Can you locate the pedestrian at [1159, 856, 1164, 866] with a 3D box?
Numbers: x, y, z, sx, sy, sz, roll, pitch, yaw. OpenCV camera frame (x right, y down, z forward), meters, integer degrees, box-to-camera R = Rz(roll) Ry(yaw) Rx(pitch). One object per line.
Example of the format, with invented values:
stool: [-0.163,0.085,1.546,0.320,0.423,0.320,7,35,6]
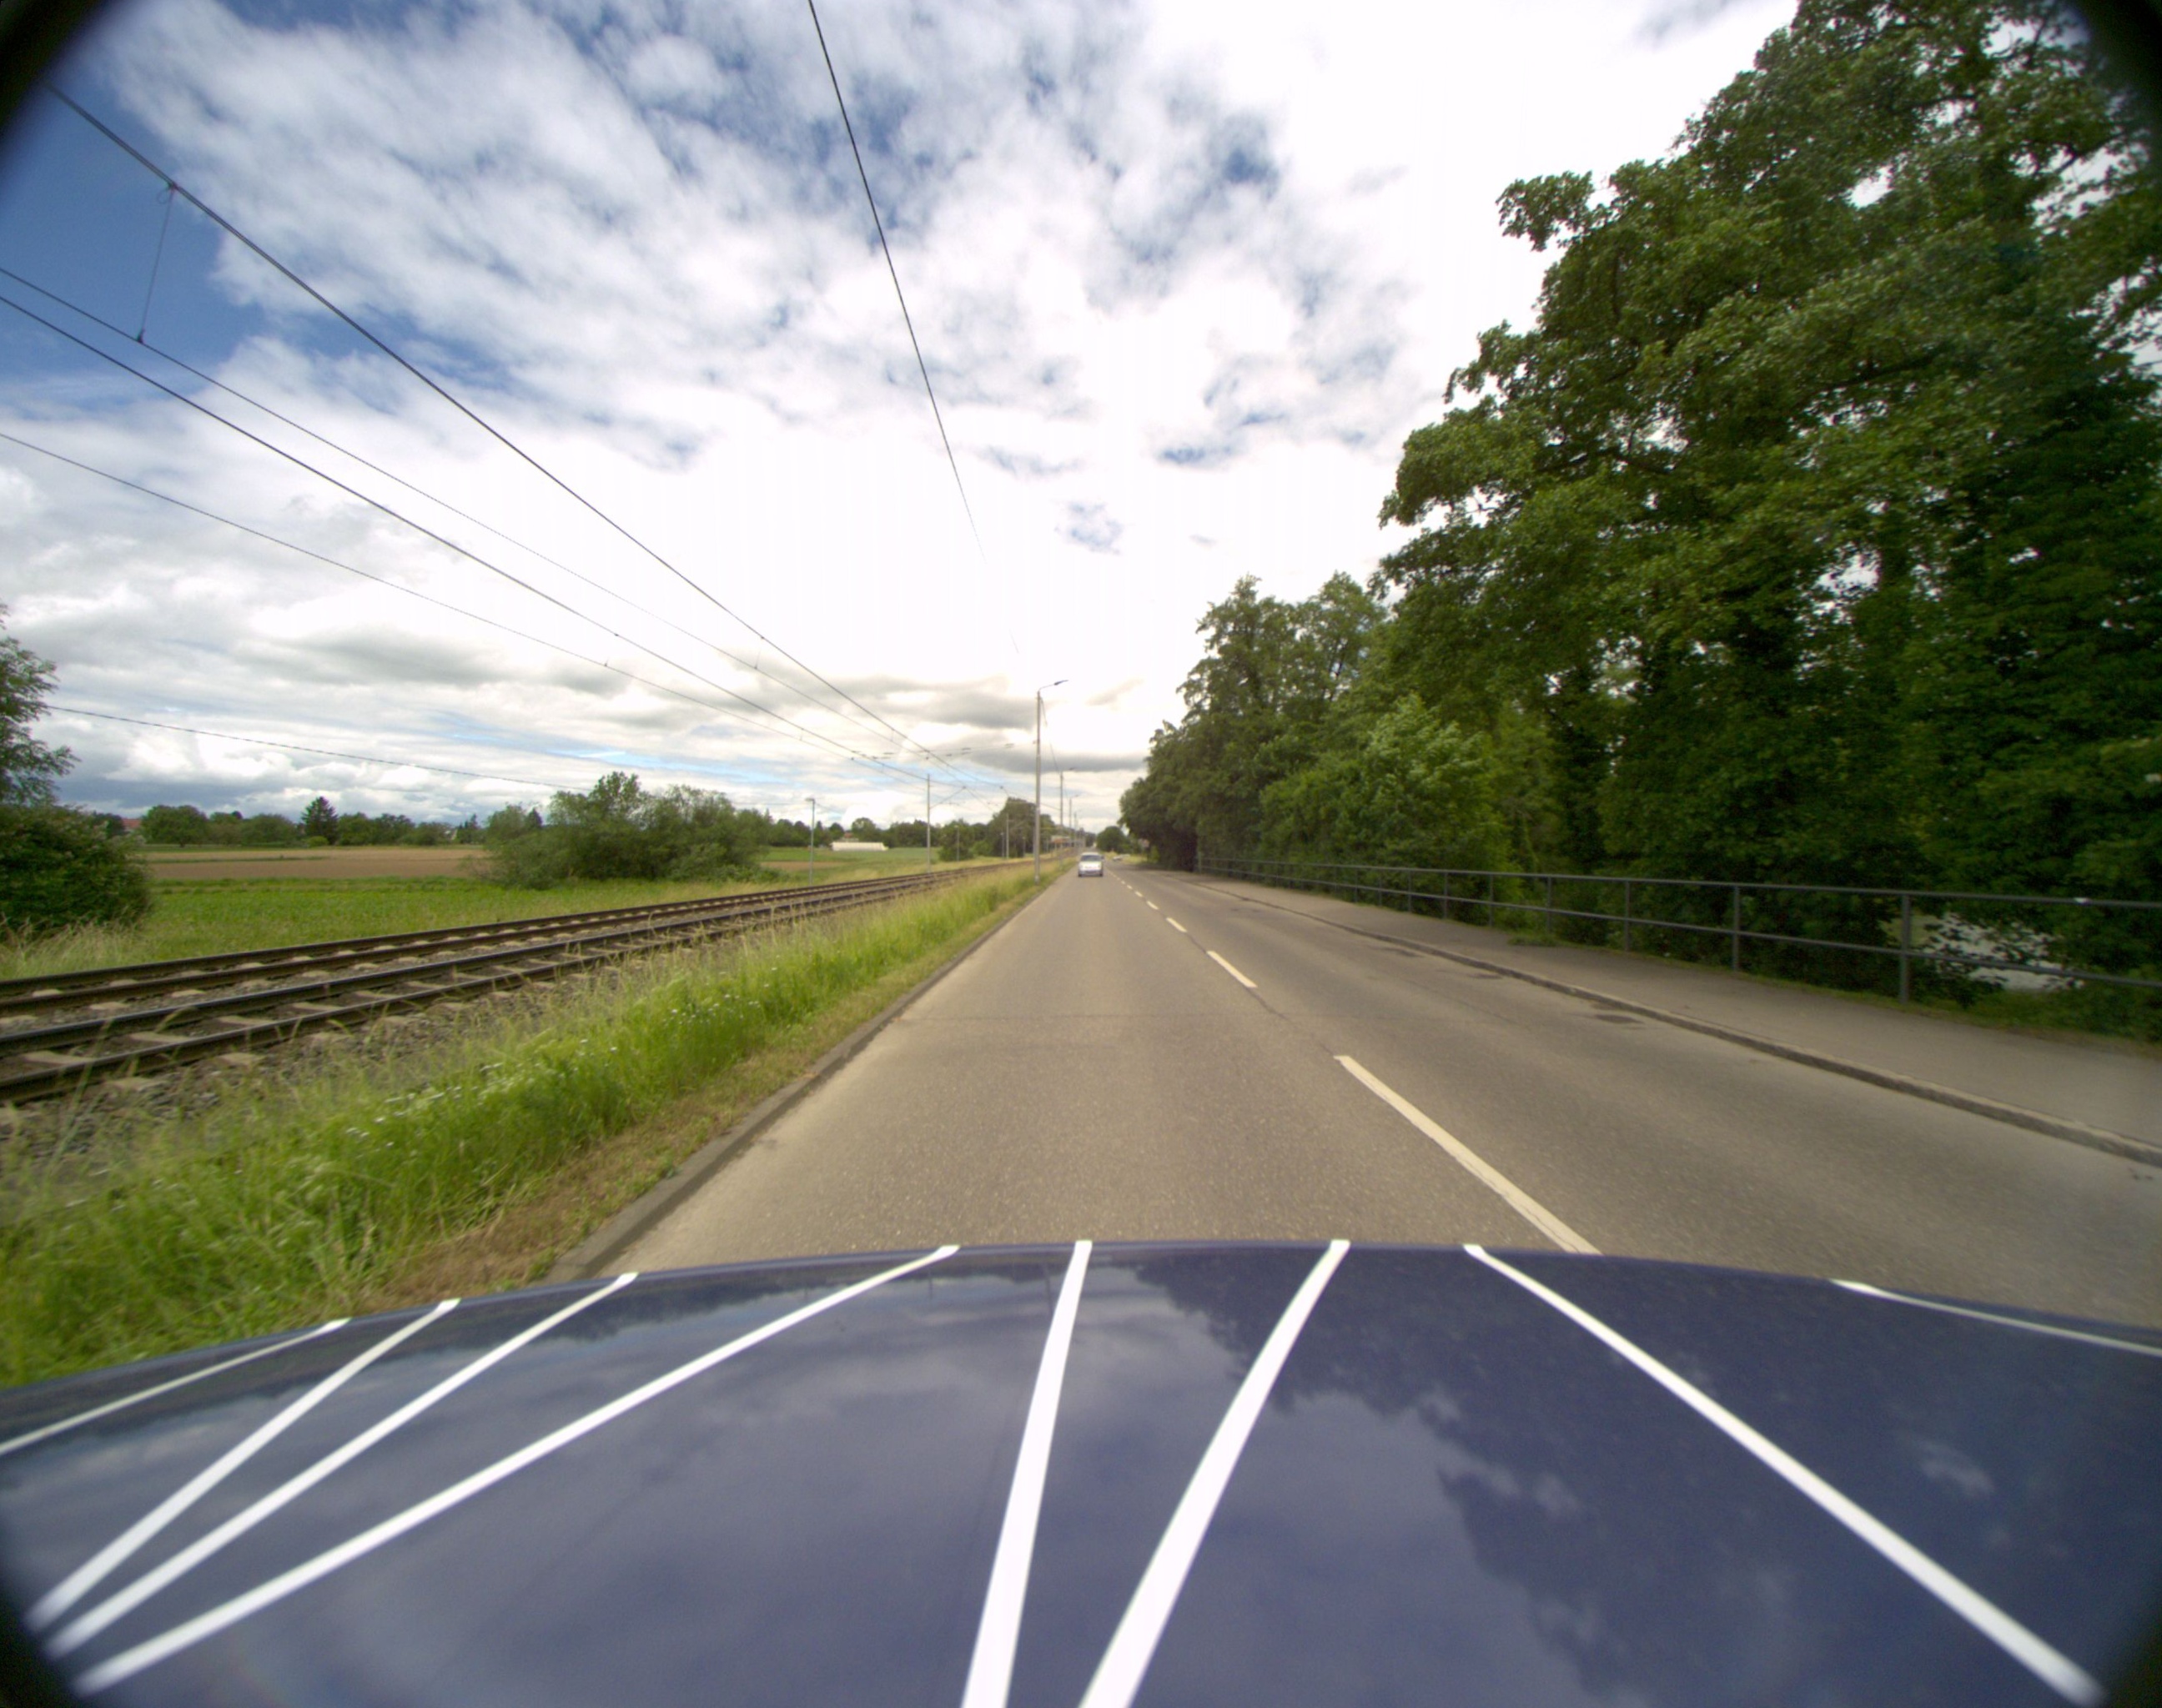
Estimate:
pedestrian: [12.239,1.064,115.409,0.706,1.584,0.707,0,-1,12]

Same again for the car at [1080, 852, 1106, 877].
car: [0.790,0.683,50.696,1.643,1.510,3.868,-1,1,1]
